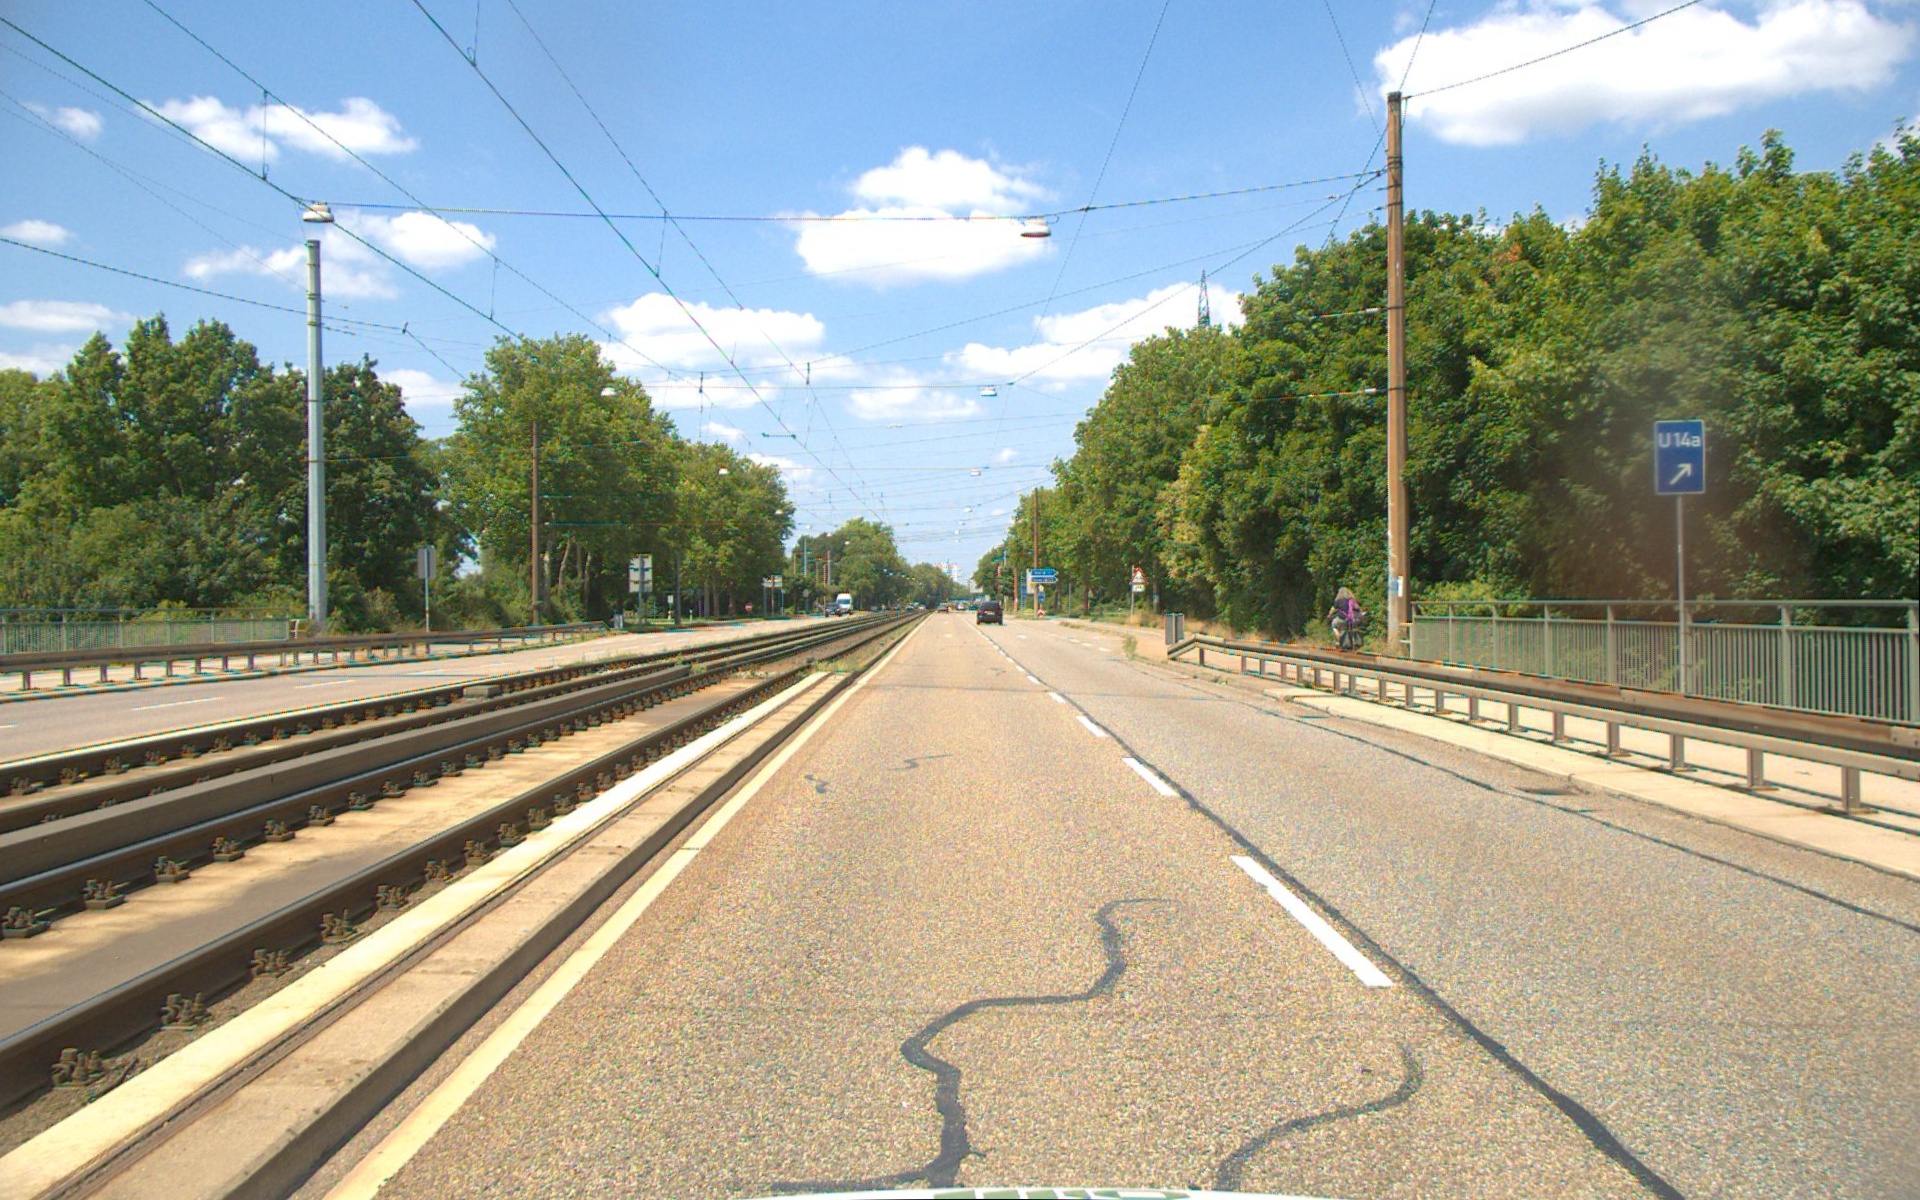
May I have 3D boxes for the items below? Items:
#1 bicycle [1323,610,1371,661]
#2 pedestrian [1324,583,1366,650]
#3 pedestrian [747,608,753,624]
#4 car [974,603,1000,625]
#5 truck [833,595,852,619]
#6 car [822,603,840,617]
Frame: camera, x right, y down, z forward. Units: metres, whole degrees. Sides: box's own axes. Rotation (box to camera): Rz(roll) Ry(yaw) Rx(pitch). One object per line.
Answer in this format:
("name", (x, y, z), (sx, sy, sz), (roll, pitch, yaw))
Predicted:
("bicycle", (8.230, 0.739, 35.220), (0.548, 1.042, 1.847), (-1, 0, 0))
("pedestrian", (8.205, 0.341, 35.283), (0.615, 1.398, 1.050), (-1, 0, -1))
("pedestrian", (-22.064, 1.687, 173.708), (0.503, 1.578, 0.703), (-1, 0, -6))
("car", (1.838, 0.928, 112.510), (1.554, 1.366, 3.271), (-1, 1, -2))
("truck", (-15.359, 0.904, 217.280), (2.012, 2.990, 6.318), (-2, 0, -1))
("car", (-15.102, 1.155, 193.403), (1.781, 1.541, 4.427), (-1, 0, -1))
